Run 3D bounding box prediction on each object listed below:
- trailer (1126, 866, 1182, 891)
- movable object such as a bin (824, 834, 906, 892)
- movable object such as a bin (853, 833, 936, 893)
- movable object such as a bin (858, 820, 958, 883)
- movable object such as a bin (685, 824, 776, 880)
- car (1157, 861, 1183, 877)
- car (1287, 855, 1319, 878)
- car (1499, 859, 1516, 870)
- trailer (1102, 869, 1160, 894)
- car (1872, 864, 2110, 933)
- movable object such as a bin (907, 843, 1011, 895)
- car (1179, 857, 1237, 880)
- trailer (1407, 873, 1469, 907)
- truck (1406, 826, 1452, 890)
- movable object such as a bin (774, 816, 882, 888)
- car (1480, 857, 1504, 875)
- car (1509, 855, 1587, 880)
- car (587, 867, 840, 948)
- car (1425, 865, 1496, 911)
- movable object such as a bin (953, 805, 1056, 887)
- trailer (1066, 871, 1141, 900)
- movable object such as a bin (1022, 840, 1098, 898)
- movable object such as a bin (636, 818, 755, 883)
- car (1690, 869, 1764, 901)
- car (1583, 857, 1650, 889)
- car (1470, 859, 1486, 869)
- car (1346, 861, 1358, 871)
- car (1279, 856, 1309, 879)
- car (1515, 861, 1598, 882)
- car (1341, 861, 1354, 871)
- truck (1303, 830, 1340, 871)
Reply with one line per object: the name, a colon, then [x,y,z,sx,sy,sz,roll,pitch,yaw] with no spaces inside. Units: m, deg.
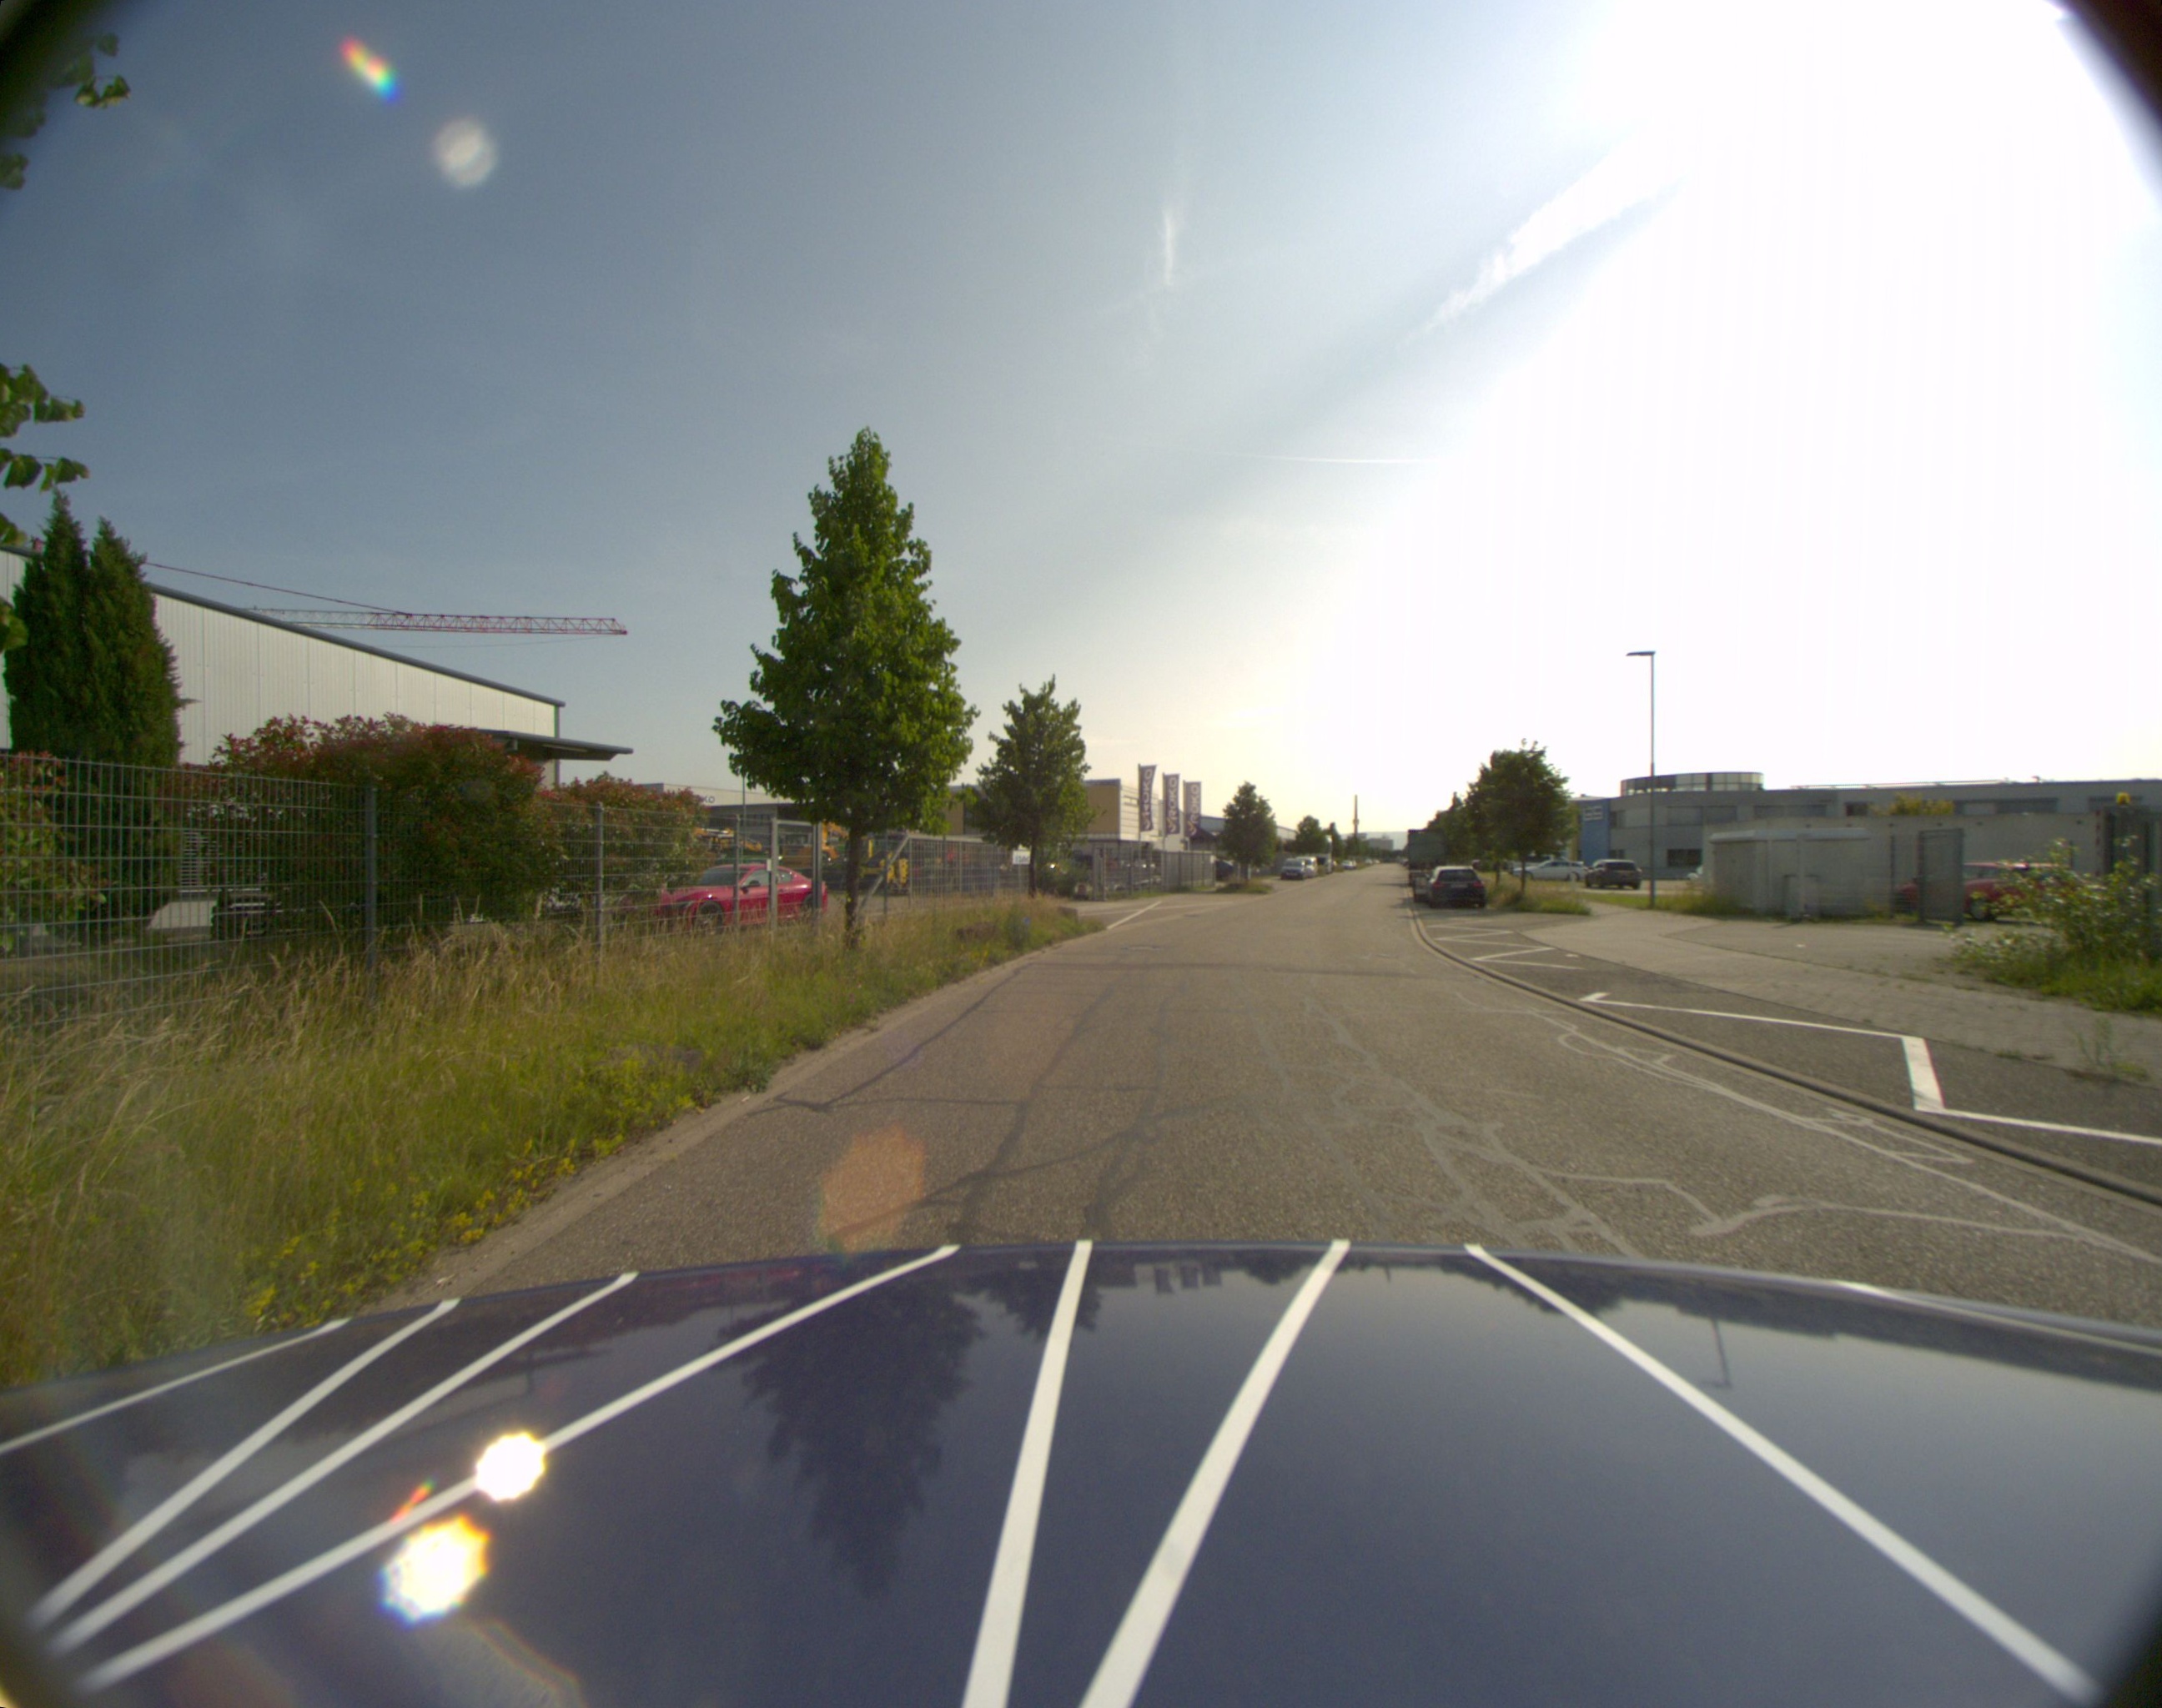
trailer: [4.473,1.446,45.859,1.995,1.303,4.571,0,1,24]
movable object such as a bin: [-11.818,0.497,41.906,1.994,3.014,4.381,0,0,23]
movable object such as a bin: [-9.868,0.478,40.542,1.994,3.014,4.500,0,0,23]
movable object such as a bin: [-11.454,-0.116,51.179,2.920,3.906,7.219,1,0,21]
movable object such as a bin: [-25.783,-0.173,56.175,2.720,3.906,6.032,1,1,19]
car: [9.143,1.536,77.652,1.891,1.547,4.377,0,-1,18]
car: [19.043,1.044,64.977,1.995,1.779,4.607,0,1,24]
car: [60.382,1.446,107.527,1.756,1.459,3.925,0,0,24]
trailer: [2.805,1.461,41.447,1.946,1.236,4.301,0,0,21]
car: [22.448,1.031,19.048,1.772,1.516,4.311,0,-1,17]
movable object such as a bin: [-6.240,0.724,39.617,2.924,2.477,5.348,0,0,23]
car: [9.798,1.074,58.669,4.230,1.727,1.902,0,0,15]
trailer: [15.426,1.503,32.873,2.132,1.225,7.170,-2,-1,25]
truck: [23.372,0.242,51.198,2.457,3.858,9.819,-2,0,24]
movable object such as a bin: [-14.331,-0.101,43.466,2.686,3.851,5.728,0,0,23]
car: [47.671,1.393,88.200,1.883,2.002,5.000,1,0,23]
car: [34.682,0.993,56.588,4.708,1.825,2.106,0,0,23]
car: [-7.300,0.974,15.746,1.882,1.350,4.781,0,0,19]
car: [13.462,1.167,27.202,1.995,1.458,4.440,-2,-1,23]
movable object such as a bin: [-4.671,-0.438,48.258,3.319,4.778,7.686,0,0,21]
trailer: [1.188,1.493,37.000,2.128,1.236,4.803,0,0,21]
movable object such as a bin: [-0.989,0.725,39.021,1.888,2.736,5.169,0,0,23]
movable object such as a bin: [-24.909,-0.213,49.580,2.468,3.906,7.213,1,1,19]
car: [34.488,1.615,40.709,1.706,1.507,4.220,1,0,21]
car: [30.166,1.037,42.929,1.995,1.676,4.707,1,0,21]
car: [56.877,1.450,108.825,1.756,1.401,3.925,0,0,24]
car: [45.051,1.970,126.470,1.691,1.495,3.547,2,0,22]
car: [16.999,1.050,60.485,1.827,1.710,4.255,0,1,22]
car: [33.684,1.191,53.975,4.731,1.422,2.003,0,0,21]
car: [41.816,1.932,119.117,1.665,1.495,3.547,2,0,22]
truck: [25.453,-0.278,80.064,2.747,3.992,9.703,2,0,22]
